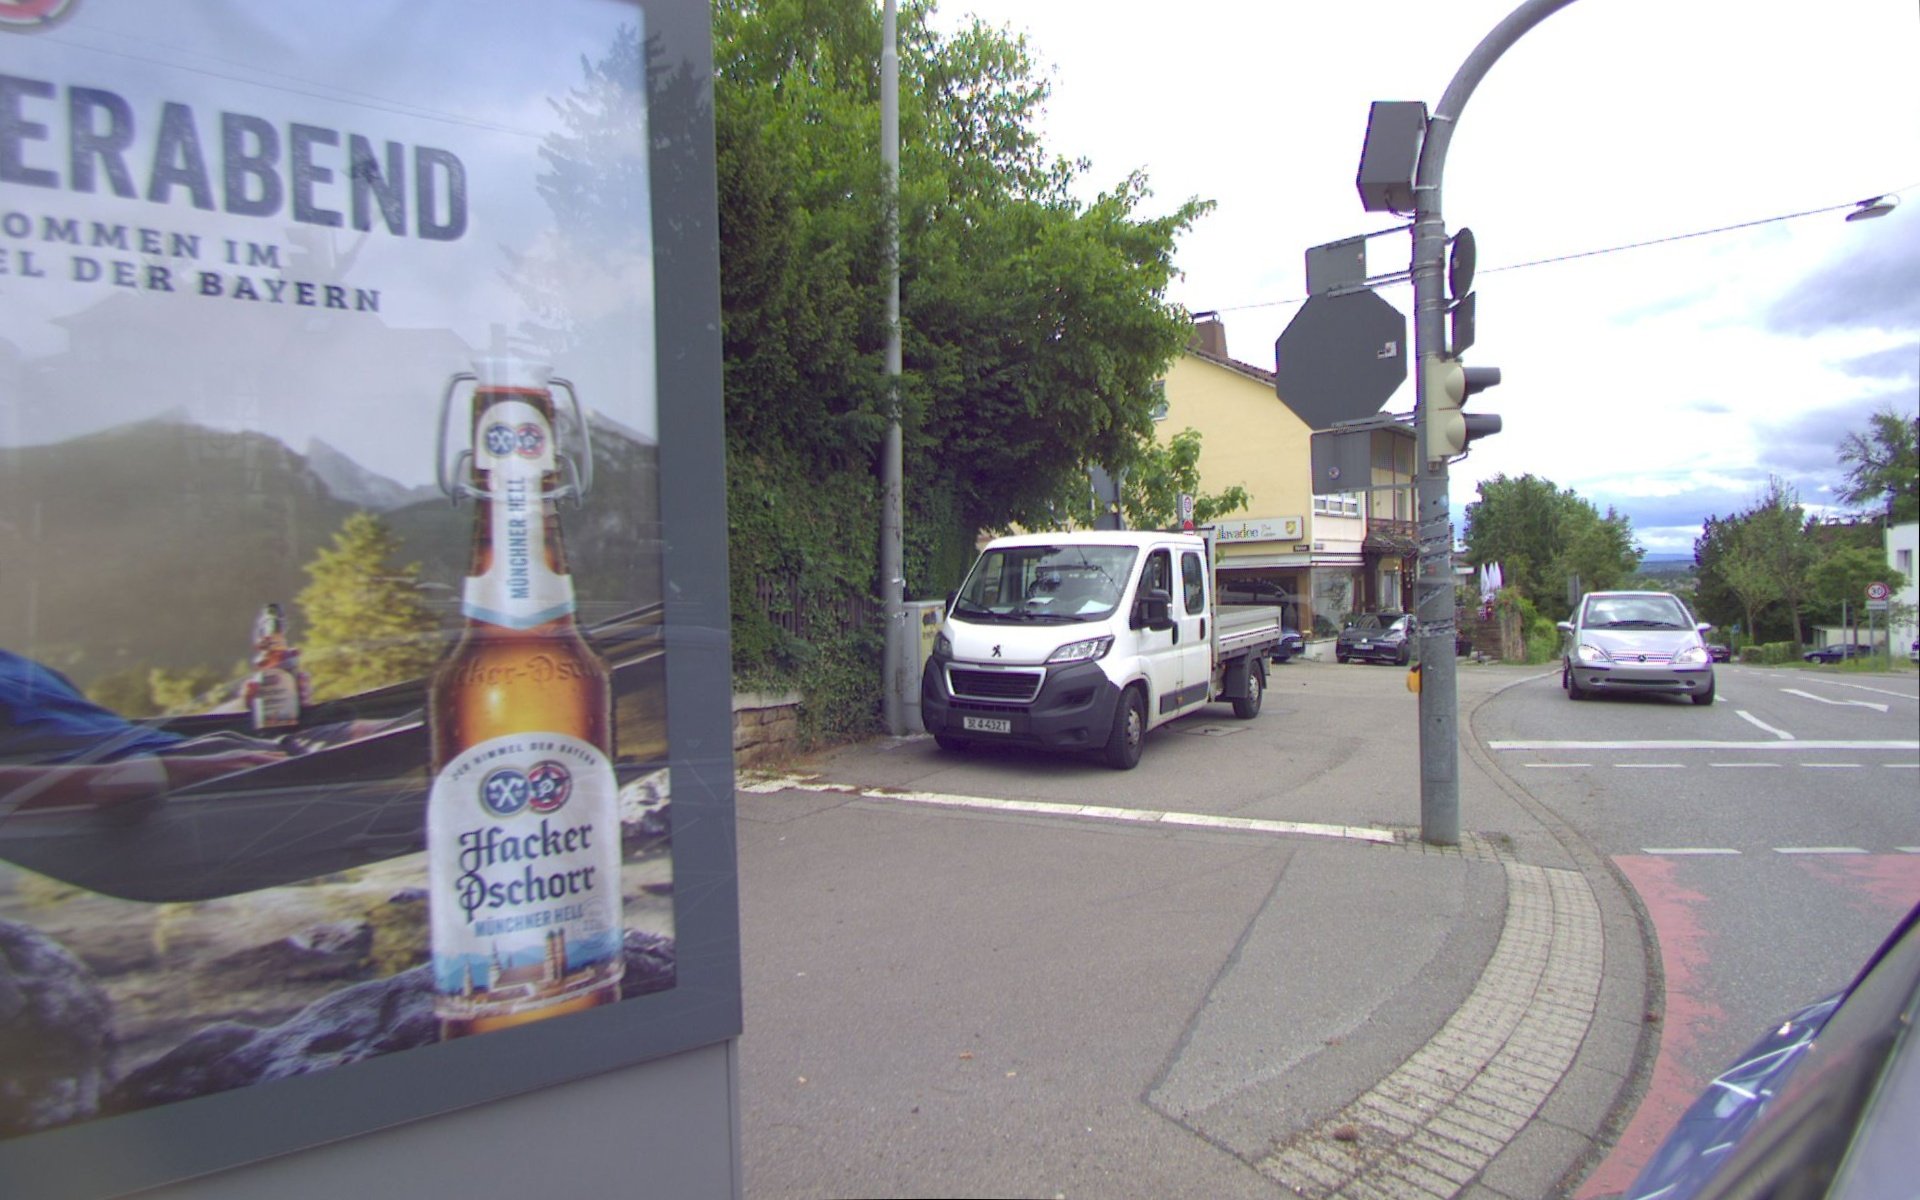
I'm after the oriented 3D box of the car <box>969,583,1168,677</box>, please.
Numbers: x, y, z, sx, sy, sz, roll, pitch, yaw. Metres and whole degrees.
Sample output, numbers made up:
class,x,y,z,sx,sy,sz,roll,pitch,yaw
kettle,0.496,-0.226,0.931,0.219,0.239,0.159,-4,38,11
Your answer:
class,x,y,z,sx,sy,sz,roll,pitch,yaw
car,2.051,0.532,20.200,1.832,1.661,4.069,0,0,-32

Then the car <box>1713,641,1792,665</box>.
class,x,y,z,sx,sy,sz,roll,pitch,yaw
car,59.363,3.956,75.910,4.397,1.578,1.979,0,-1,29

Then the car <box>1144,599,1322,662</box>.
class,x,y,z,sx,sy,sz,roll,pitch,yaw
car,7.176,0.779,26.909,1.900,1.548,4.217,3,-2,-44

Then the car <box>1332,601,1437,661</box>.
class,x,y,z,sx,sy,sz,roll,pitch,yaw
car,11.815,0.893,28.058,1.863,1.512,3.831,-1,-4,36

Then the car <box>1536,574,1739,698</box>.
class,x,y,z,sx,sy,sz,roll,pitch,yaw
car,10.094,0.505,15.418,1.979,1.616,3.964,-1,-1,26

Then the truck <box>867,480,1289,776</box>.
class,x,y,z,sx,sy,sz,roll,pitch,yaw
truck,1.739,0.166,11.381,2.385,2.381,6.120,0,1,31
